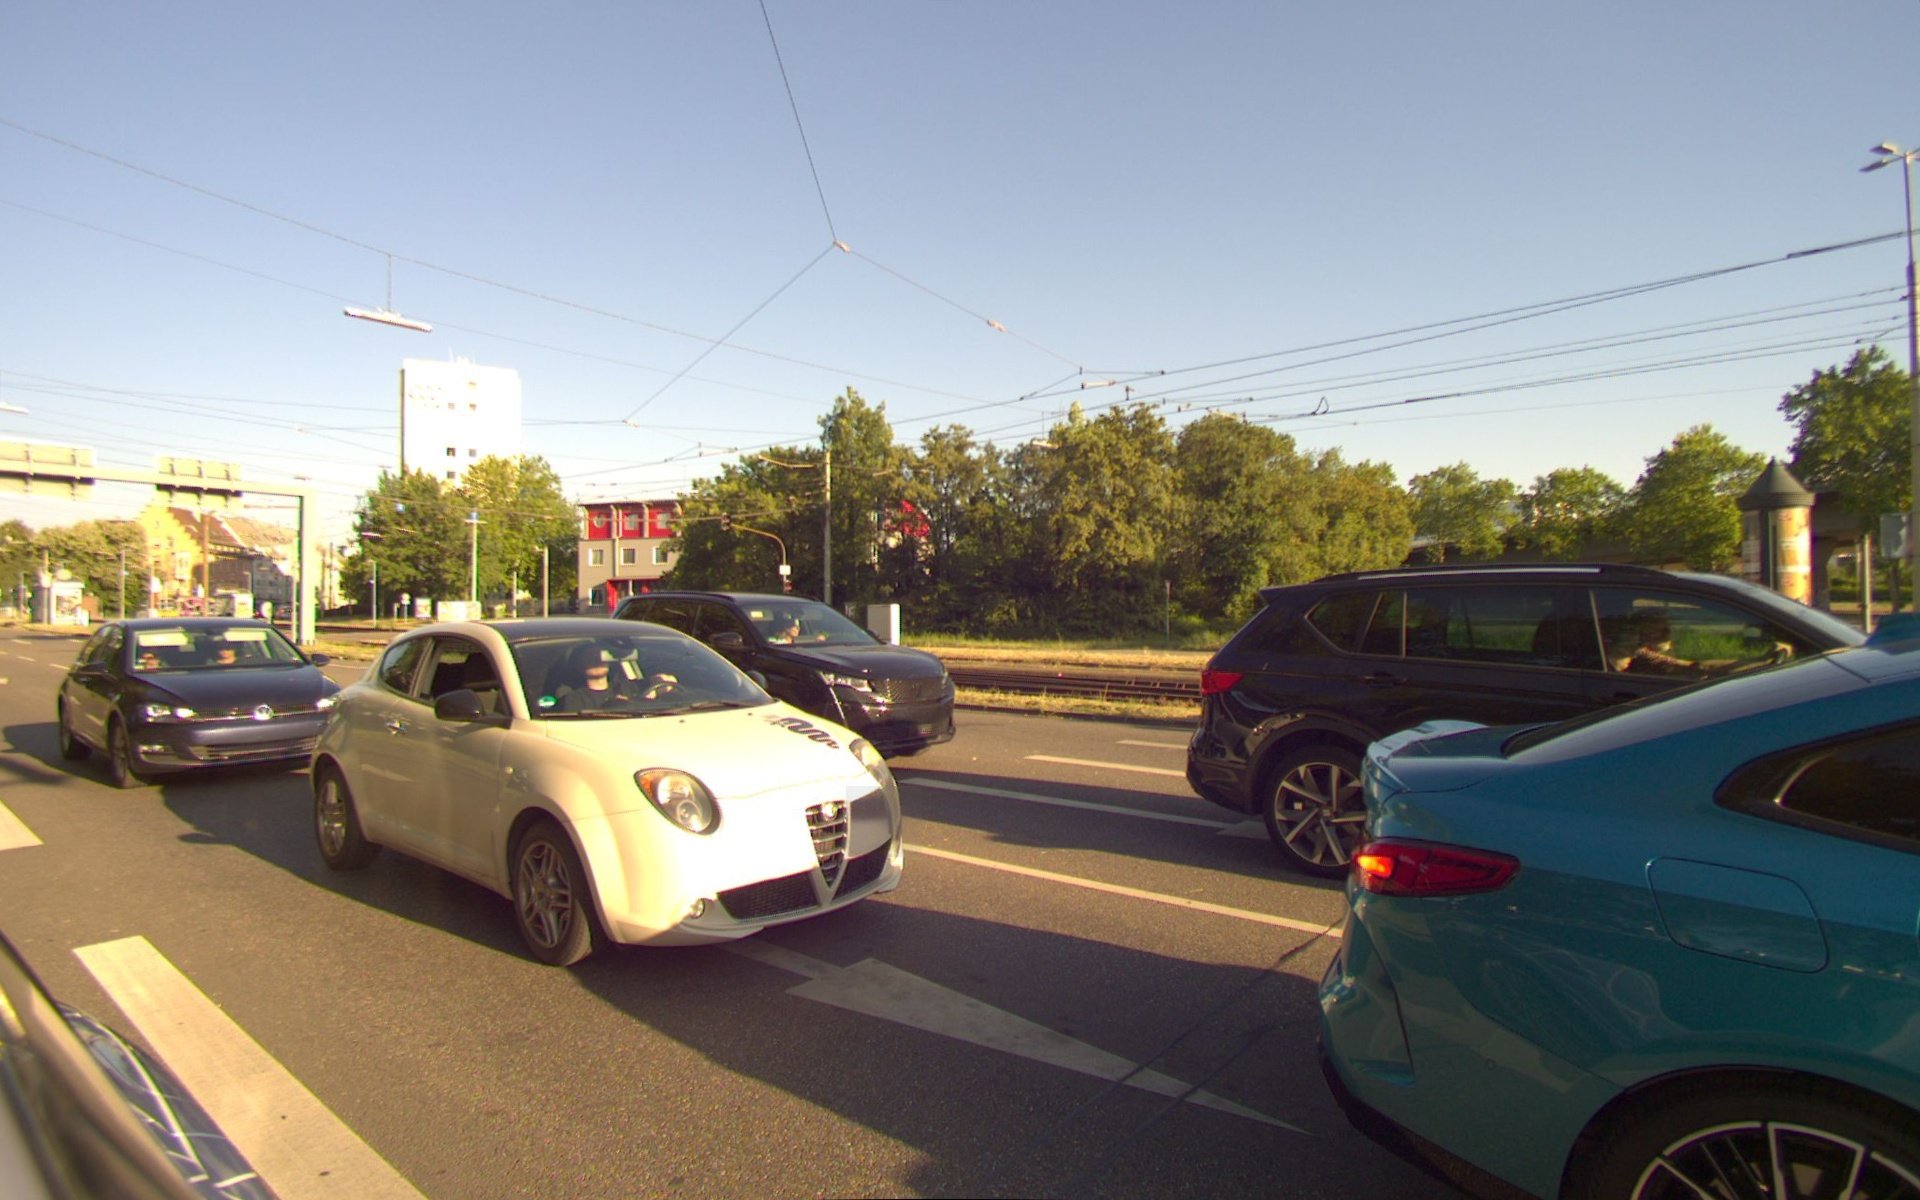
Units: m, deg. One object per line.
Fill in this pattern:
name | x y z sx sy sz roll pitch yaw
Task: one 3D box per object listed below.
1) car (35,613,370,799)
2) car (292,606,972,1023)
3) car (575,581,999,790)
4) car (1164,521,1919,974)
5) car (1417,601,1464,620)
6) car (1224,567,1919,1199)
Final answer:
car | -7.451 0.862 9.829 3.921 1.441 1.759 -1 -1 40
car | -1.967 0.774 5.411 3.921 1.441 1.644 -1 -1 40
car | -1.957 0.718 10.360 4.601 1.661 1.894 -1 -1 43
car | 3.539 0.567 5.062 4.598 1.694 1.896 -1 -1 40
car | 38.660 0.859 81.591 1.973 1.497 3.997 0 -1 2
car | 2.877 0.653 1.474 4.507 1.428 1.767 -1 -1 39
